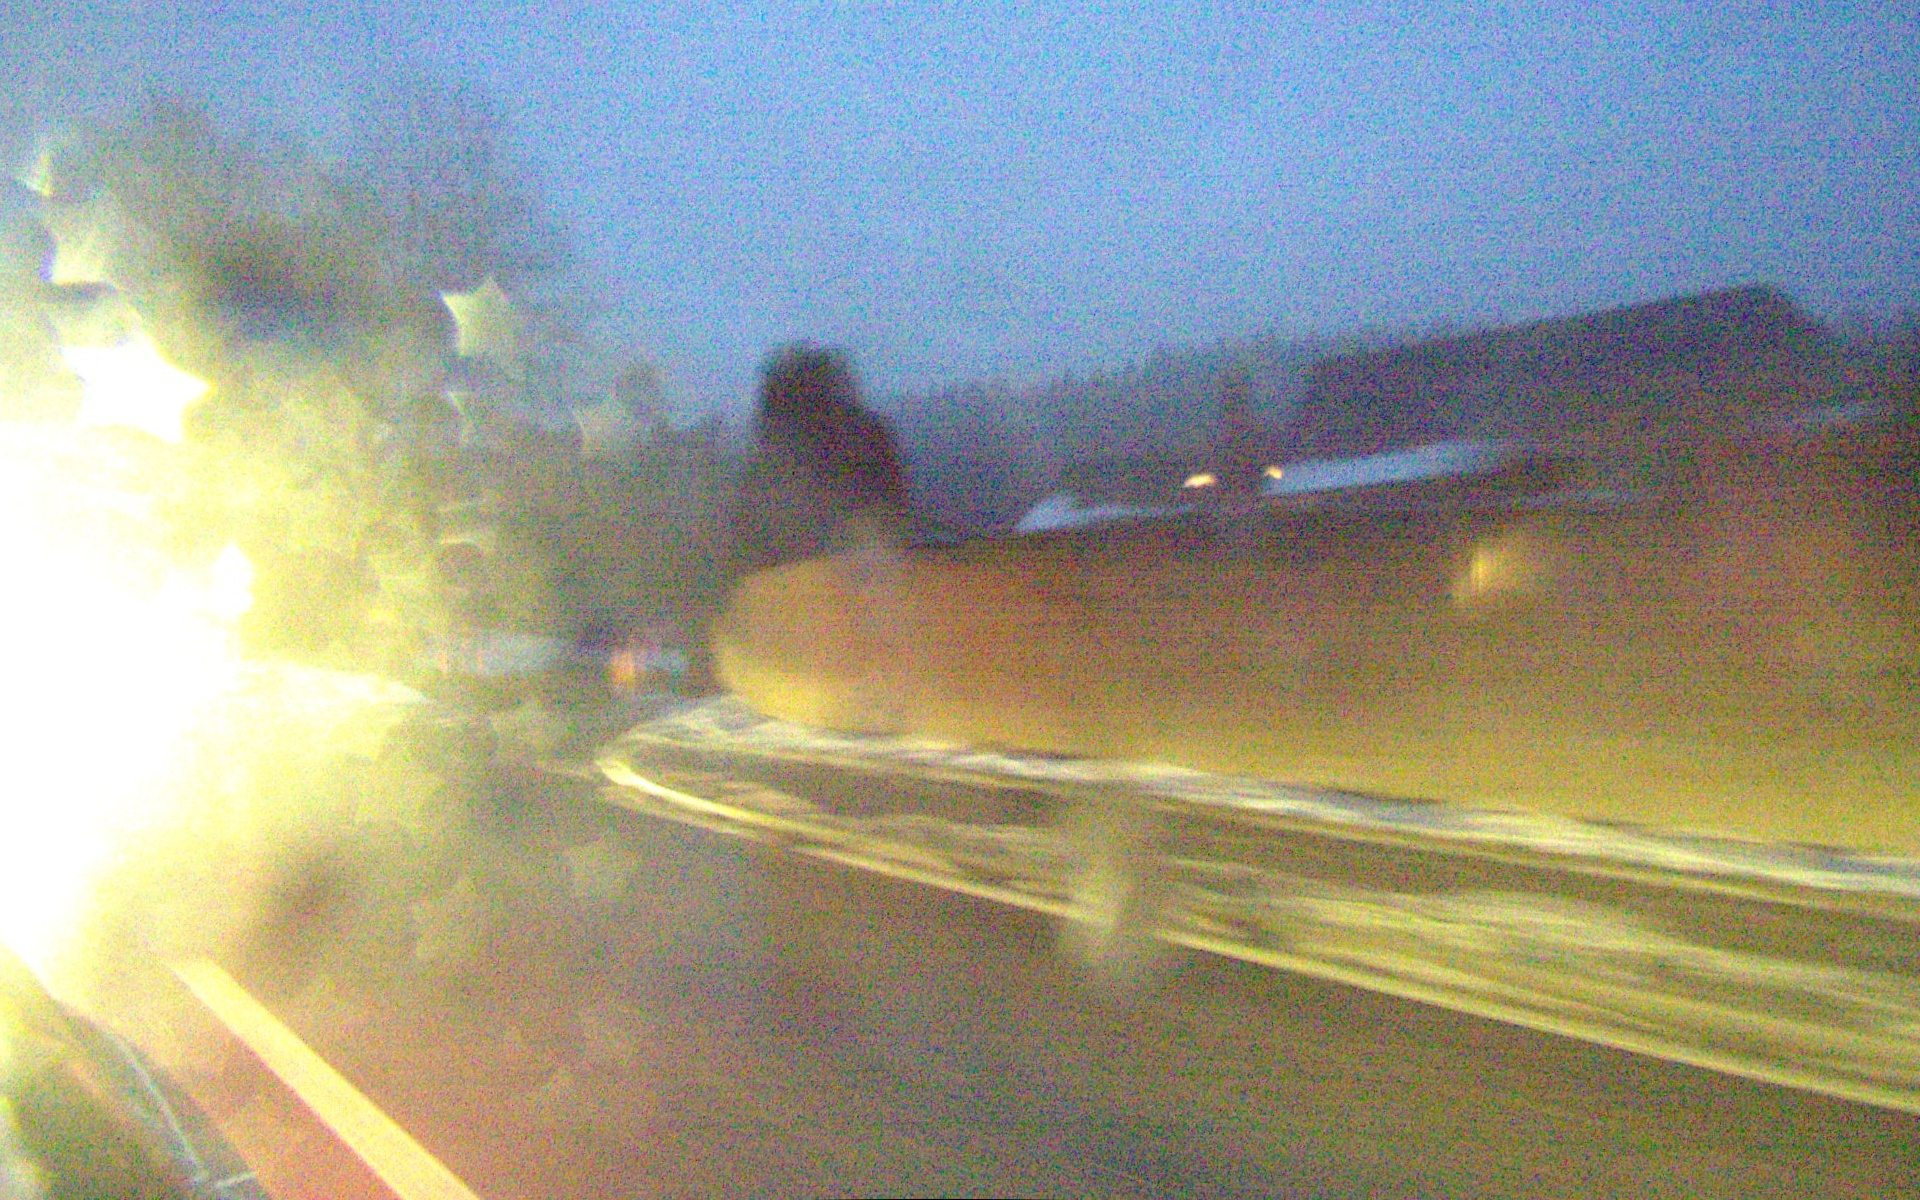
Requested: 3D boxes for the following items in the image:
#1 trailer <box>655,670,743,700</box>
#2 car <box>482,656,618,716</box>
[{"bbox_3d":[-10.887,3.549,42.187,3.369,1.087,1.752,-5,-4,35],"label":"trailer"},{"bbox_3d":[-13.954,2.912,34.472,3.967,1.844,1.964,-3,-3,18],"label":"car"}]
